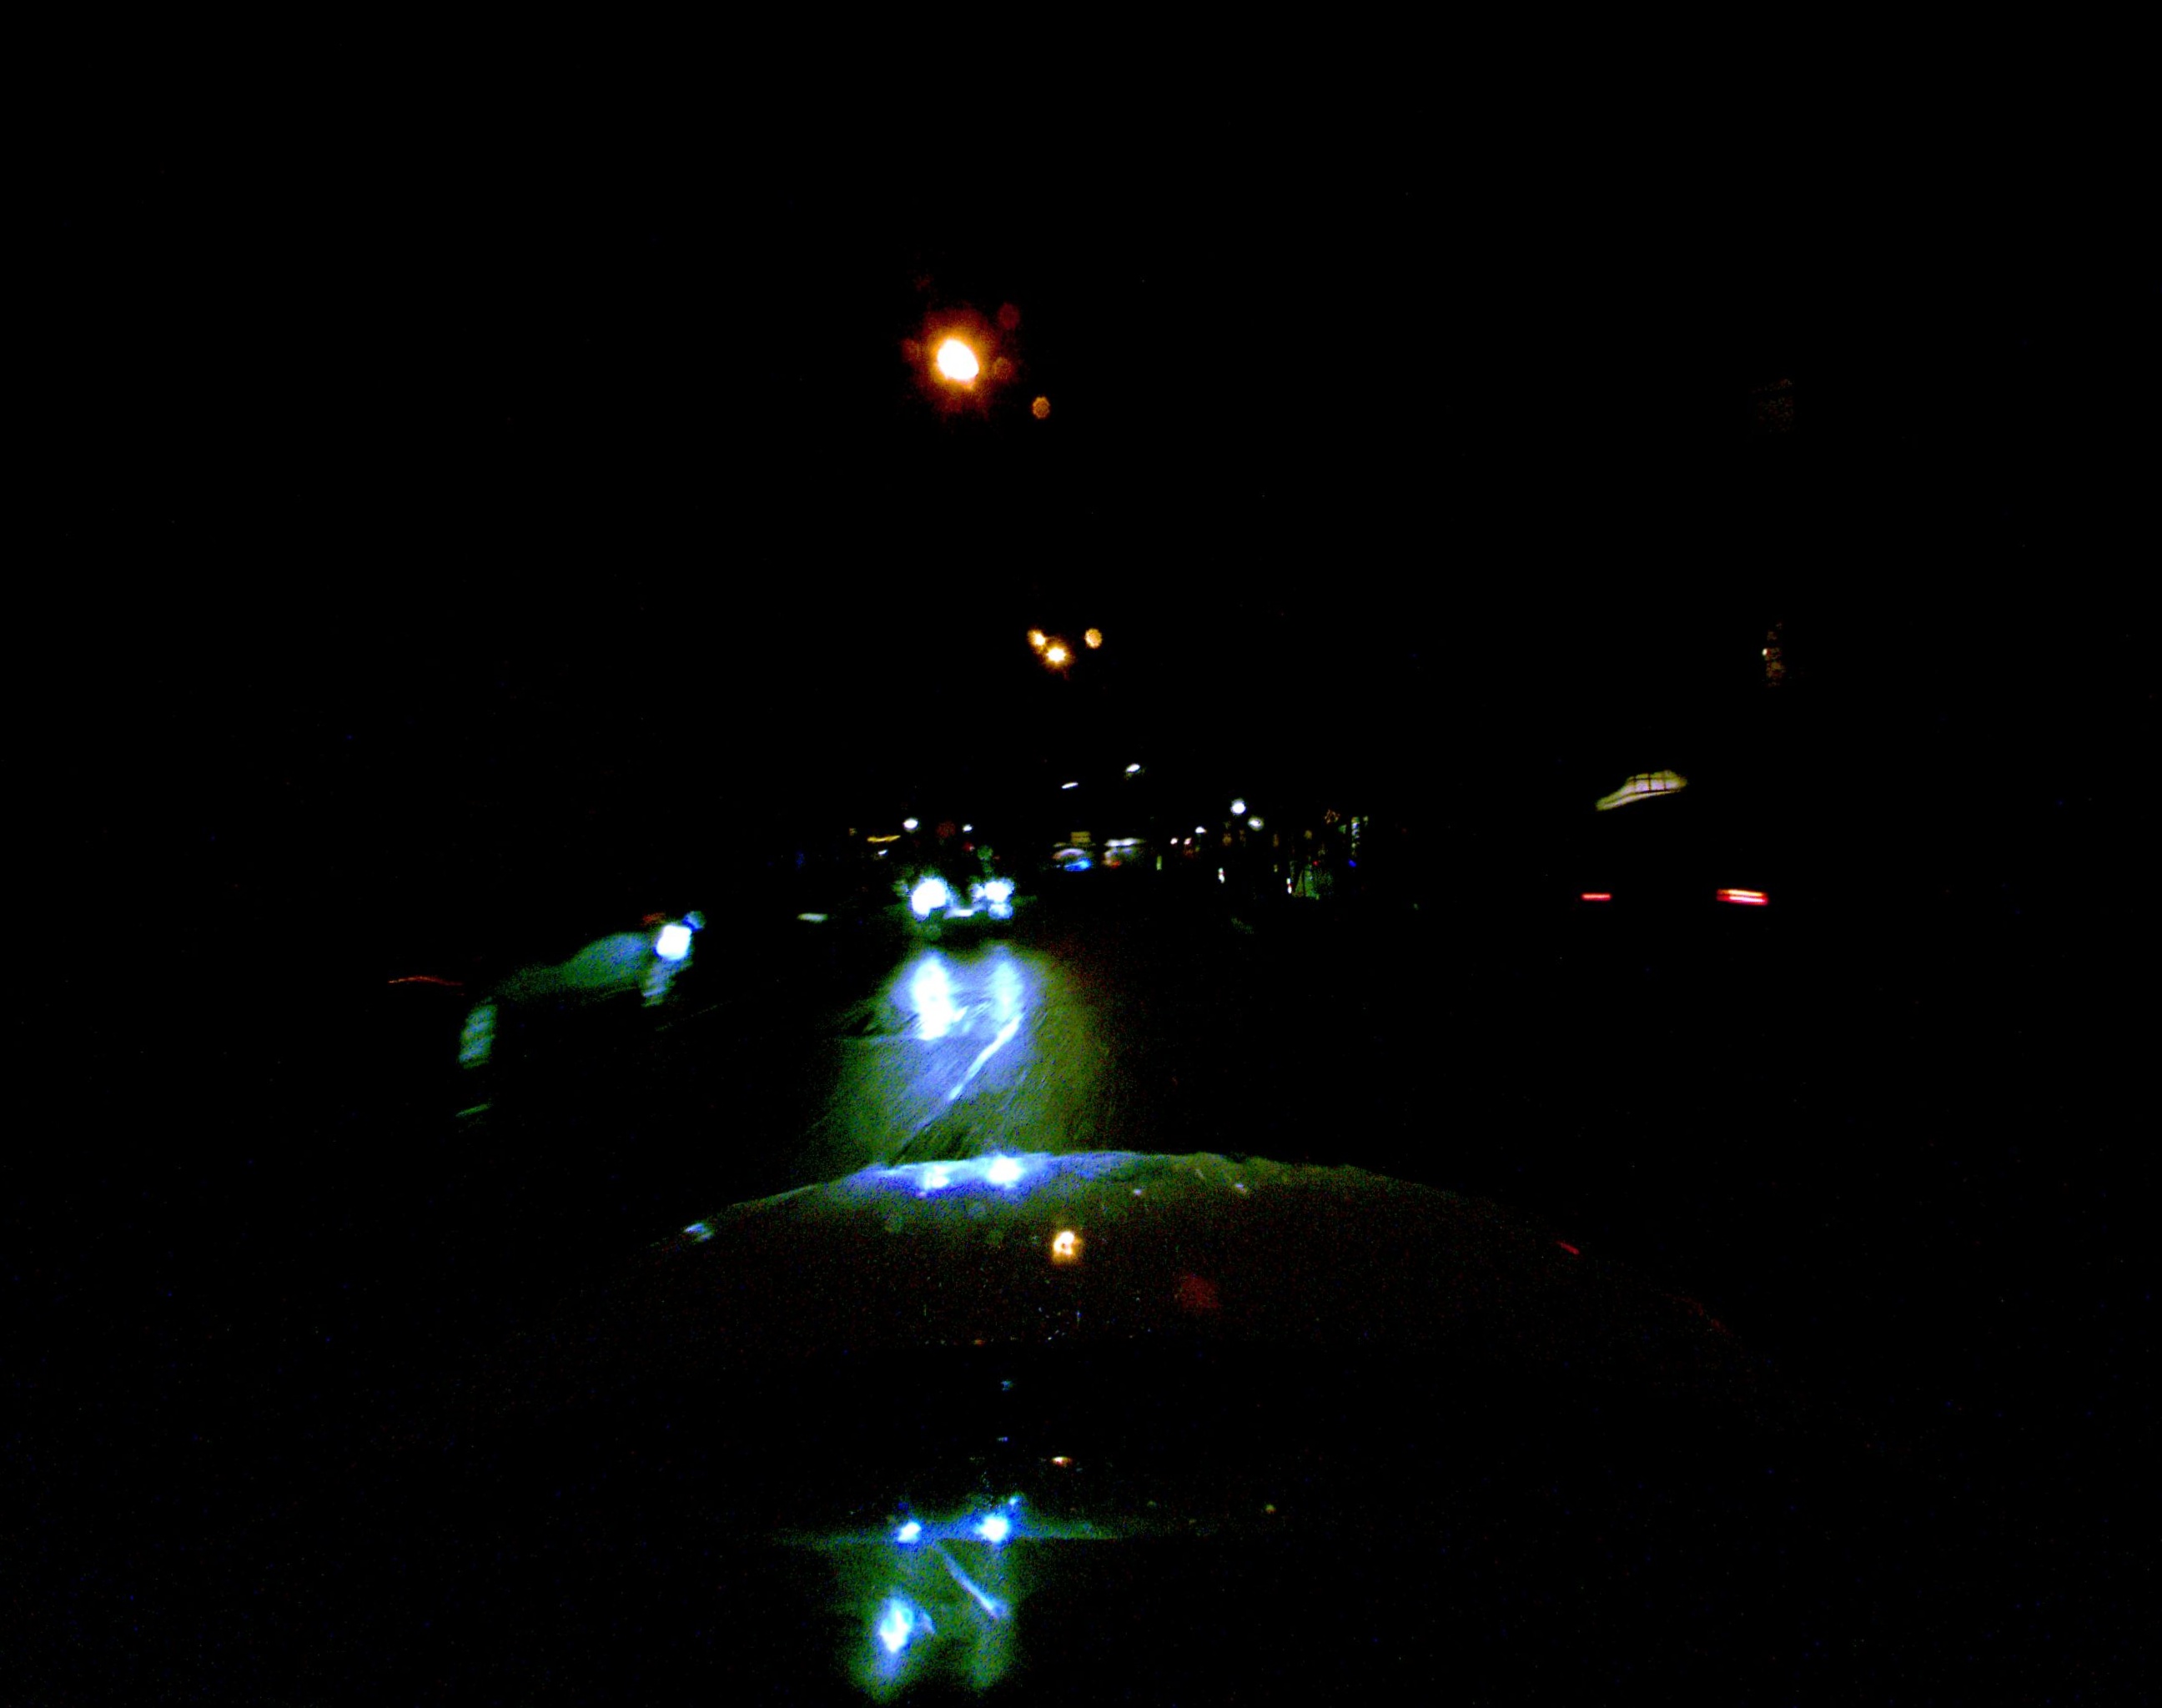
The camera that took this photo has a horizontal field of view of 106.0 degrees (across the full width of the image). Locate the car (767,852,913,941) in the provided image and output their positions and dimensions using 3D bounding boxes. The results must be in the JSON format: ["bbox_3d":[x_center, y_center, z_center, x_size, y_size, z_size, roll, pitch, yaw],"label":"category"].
[{"bbox_3d":[-5.235,0.855,18.389,1.826,1.717,4.594,-2,0,1],"label":"car"}]

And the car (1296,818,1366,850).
[{"bbox_3d":[13.623,-1.053,44.320,3.470,1.613,1.720,1,-1,-28],"label":"car"}]

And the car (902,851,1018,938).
[{"bbox_3d":[-2.601,0.817,18.573,1.915,1.618,4.572,-4,0,-1],"label":"car"}]

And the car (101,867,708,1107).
[{"bbox_3d":[-5.546,0.919,7.700,1.826,1.486,4.594,-2,0,1],"label":"car"}]

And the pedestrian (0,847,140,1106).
[{"bbox_3d":[-7.900,0.859,5.992,0.740,1.804,0.987,0,-1,4],"label":"pedestrian"}]

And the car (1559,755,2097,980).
[{"bbox_3d":[8.116,0.078,9.029,4.681,2.049,1.994,-2,0,-11],"label":"car"}]

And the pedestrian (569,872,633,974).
[{"bbox_3d":[-7.620,1.071,12.959,0.657,1.552,0.759,0,-1,-14],"label":"pedestrian"}]

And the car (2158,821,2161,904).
[{"bbox_3d":[21.738,0.081,13.995,4.397,1.502,1.769,-2,0,-4],"label":"car"}]

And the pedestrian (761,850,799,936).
[{"bbox_3d":[-7.034,0.903,19.054,0.655,1.974,0.768,0,-1,-8],"label":"pedestrian"}]
